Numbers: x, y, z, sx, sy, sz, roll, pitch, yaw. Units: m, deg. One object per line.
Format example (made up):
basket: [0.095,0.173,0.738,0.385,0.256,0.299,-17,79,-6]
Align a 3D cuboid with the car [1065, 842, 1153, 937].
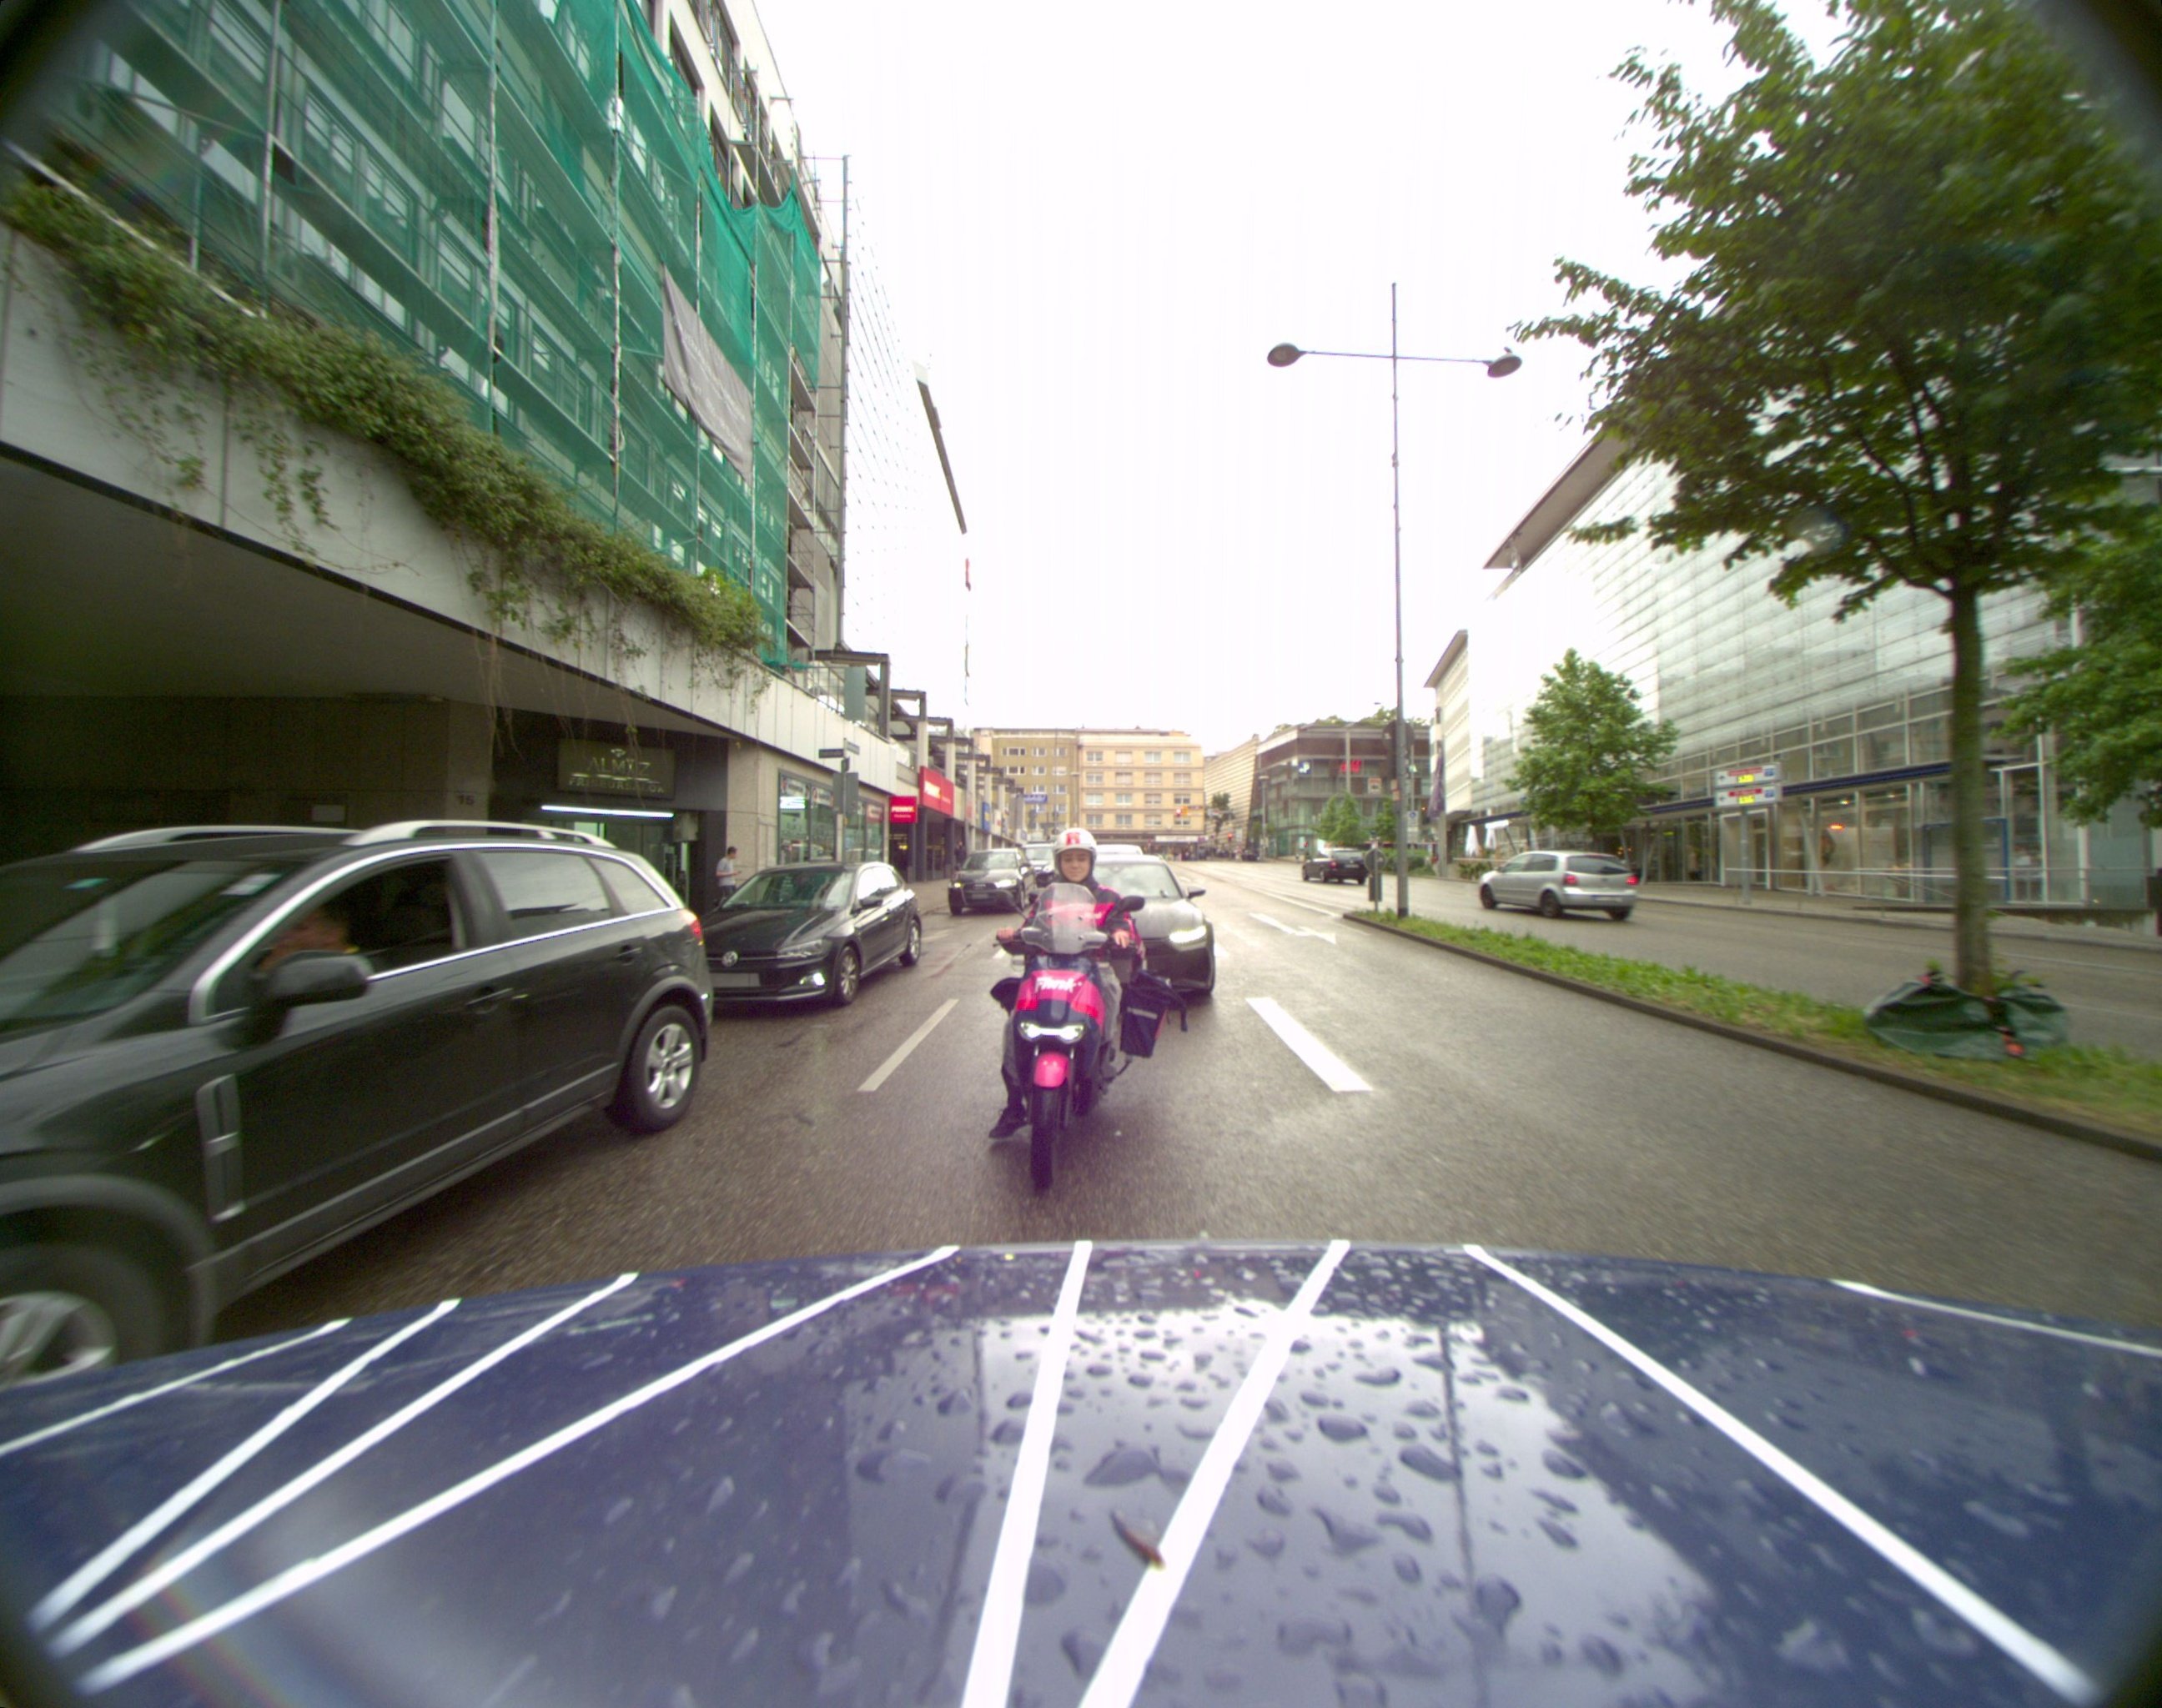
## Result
car: [0.518,0.642,16.066,1.632,1.731,3.599,1,1,0]

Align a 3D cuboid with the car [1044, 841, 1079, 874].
car: [-1.041,0.151,42.528,1.832,1.726,3.999,1,1,0]

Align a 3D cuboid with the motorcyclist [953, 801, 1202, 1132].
motorcyclist: [-0.017,0.607,4.548,1.296,1.757,0.845,-2,1,-1]

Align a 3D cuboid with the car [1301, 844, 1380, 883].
car: [10.798,0.333,31.937,1.998,1.500,4.185,0,1,2]

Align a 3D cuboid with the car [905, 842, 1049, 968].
car: [-1.549,0.689,12.686,1.832,1.726,3.999,1,1,0]

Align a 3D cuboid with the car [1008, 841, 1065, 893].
car: [-1.548,0.403,27.638,1.832,1.726,3.999,1,1,0]

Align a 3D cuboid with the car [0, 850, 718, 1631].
car: [-3.239,0.871,2.700,1.735,1.669,4.248,-2,1,1]

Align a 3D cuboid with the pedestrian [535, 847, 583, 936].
pedestrian: [-8.862,0.623,12.916,0.428,1.480,0.524,1,2,3]

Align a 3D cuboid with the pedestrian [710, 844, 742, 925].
pedestrian: [-7.123,0.600,15.253,0.404,1.588,0.464,0,2,-1]

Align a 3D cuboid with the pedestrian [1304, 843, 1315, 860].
pedestrian: [26.545,-0.293,88.342,0.986,1.888,0.739,-3,2,-17]

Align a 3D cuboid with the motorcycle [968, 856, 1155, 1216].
motorcycle: [-0.107,0.842,4.884,0.832,1.480,2.863,-1,3,-1]

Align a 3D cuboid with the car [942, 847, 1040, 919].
car: [-2.217,0.669,19.836,1.776,1.575,4.000,-2,1,4]

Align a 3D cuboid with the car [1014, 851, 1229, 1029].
car: [0.374,0.771,9.145,1.937,1.511,4.467,-1,1,0]

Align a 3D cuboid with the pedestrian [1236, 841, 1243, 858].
pedestrian: [17.514,-0.516,83.769,0.606,1.831,0.588,-2,1,-1]

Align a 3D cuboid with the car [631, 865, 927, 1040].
car: [-3.107,0.921,8.735,1.682,1.422,3.777,-1,1,3]

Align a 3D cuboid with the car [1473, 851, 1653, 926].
car: [10.590,0.693,17.039,1.629,1.429,3.646,0,1,-1]

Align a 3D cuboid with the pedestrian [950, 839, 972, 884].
pedestrian: [-5.029,0.302,31.785,0.708,1.771,0.640,5,6,1]

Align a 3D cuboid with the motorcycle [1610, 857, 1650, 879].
motorcycle: [27.823,0.696,38.523,1.571,1.066,0.417,1,2,9]

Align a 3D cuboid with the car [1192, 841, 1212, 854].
car: [19.315,-1.070,121.329,2.000,2.002,3.997,-2,1,-7]
